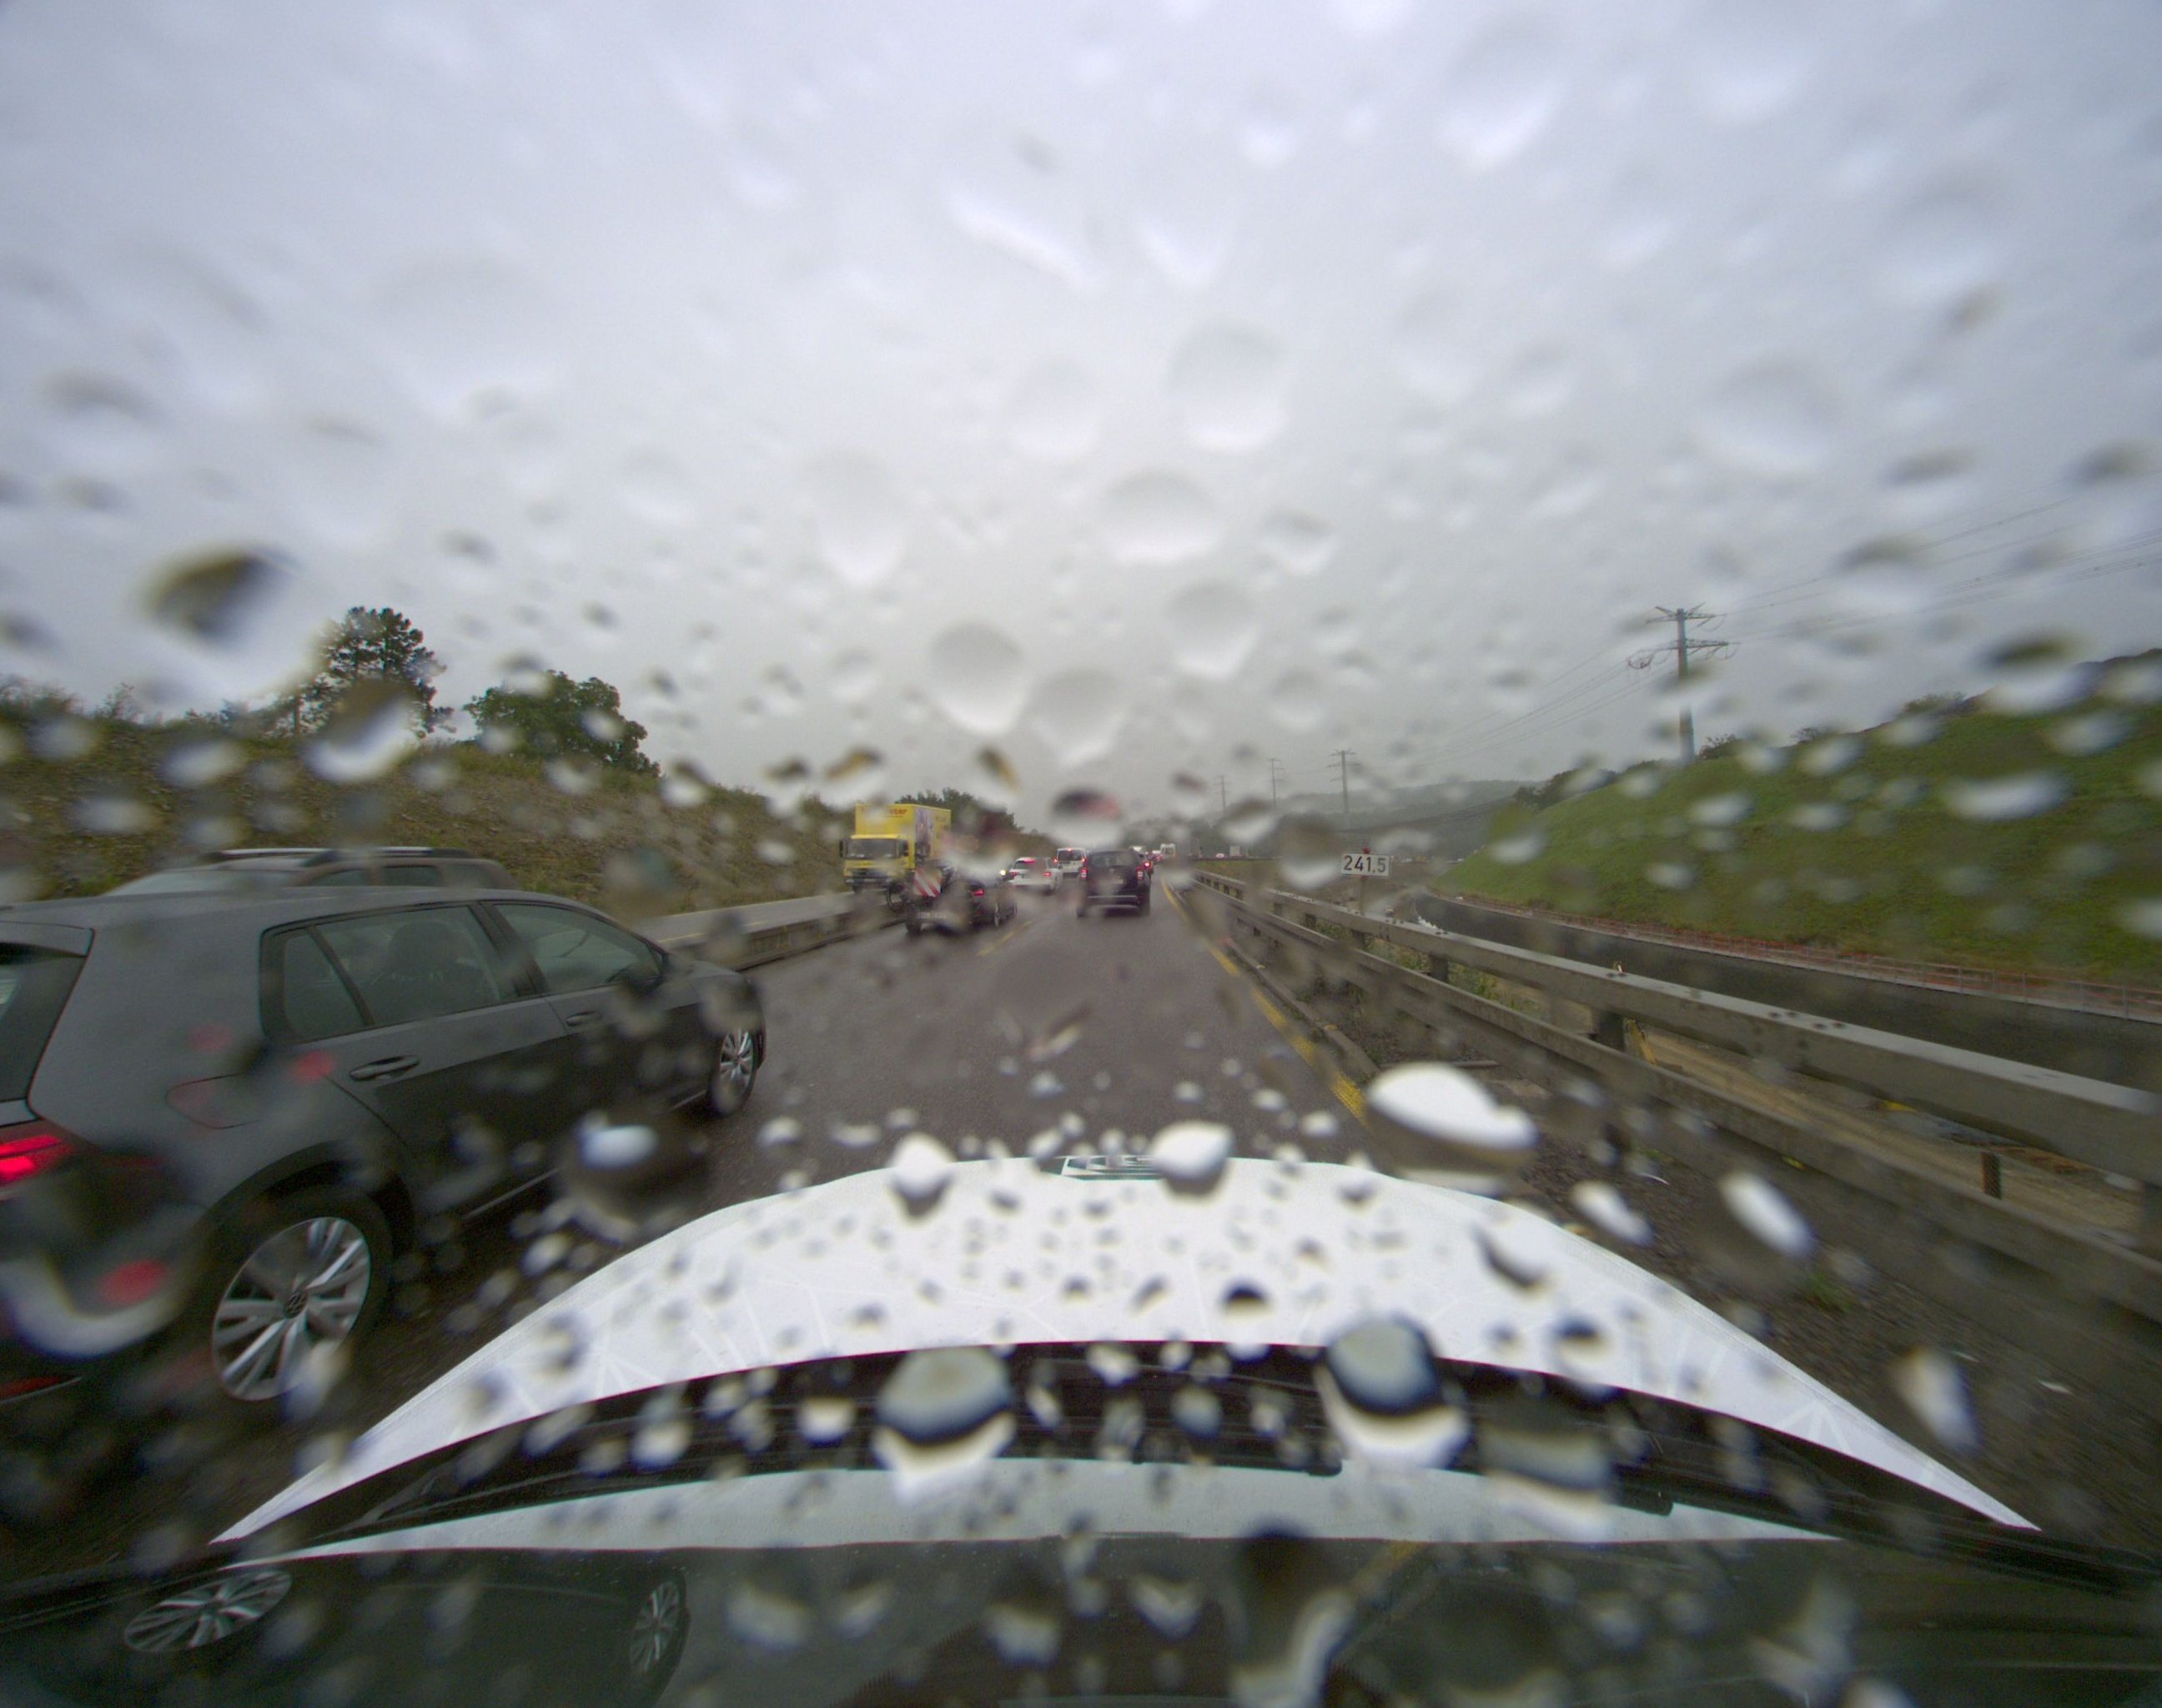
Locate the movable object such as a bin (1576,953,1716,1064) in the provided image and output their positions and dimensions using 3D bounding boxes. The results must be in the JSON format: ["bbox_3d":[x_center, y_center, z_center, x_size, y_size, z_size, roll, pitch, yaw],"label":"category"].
[{"bbox_3d":[24.294,6.556,35.279,3.202,3.867,4.124,1,1,2],"label":"movable object such as a bin"}]

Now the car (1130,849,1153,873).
[{"bbox_3d":[4.300,0.494,57.925,1.524,1.640,4.015,0,0,3],"label":"car"}]

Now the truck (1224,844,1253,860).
[{"bbox_3d":[42.071,-0.450,216.949,4.677,4.150,15.765,0,0,22],"label":"truck"}]

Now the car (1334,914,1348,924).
[{"bbox_3d":[52.306,13.108,164.114,1.983,1.816,4.008,-1,0,7],"label":"car"}]

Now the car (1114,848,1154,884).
[{"bbox_3d":[2.628,0.567,40.455,1.859,1.708,4.004,0,0,4],"label":"car"}]

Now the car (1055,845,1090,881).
[{"bbox_3d":[-0.427,0.469,44.809,1.653,1.880,4.024,0,0,4],"label":"car"}]

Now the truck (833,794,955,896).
[{"bbox_3d":[-8.081,-0.362,36.469,2.755,3.996,8.435,-1,0,5],"label":"truck"}]

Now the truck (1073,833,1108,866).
[{"bbox_3d":[1.407,-0.619,107.990,2.917,4.097,14.420,0,0,7],"label":"truck"}]

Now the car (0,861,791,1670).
[{"bbox_3d":[-2.866,0.845,3.374,1.608,1.506,4.369,-2,0,1],"label":"car"}]

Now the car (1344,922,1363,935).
[{"bbox_3d":[49.108,13.380,146.749,2.354,2.013,4.005,0,0,4],"label":"car"}]

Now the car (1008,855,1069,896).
[{"bbox_3d":[-1.556,0.764,31.500,1.859,1.460,4.553,0,0,4],"label":"car"}]

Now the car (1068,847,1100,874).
[{"bbox_3d":[0.246,0.420,54.870,1.859,1.708,4.097,0,0,5],"label":"car"}]

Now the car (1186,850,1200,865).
[{"bbox_3d":[14.534,0.442,106.015,1.765,1.916,4.009,0,0,8],"label":"car"}]

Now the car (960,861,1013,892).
[{"bbox_3d":[-4.504,1.048,39.508,1.860,1.406,4.119,0,0,3],"label":"car"}]

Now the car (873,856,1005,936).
[{"bbox_3d":[-2.859,0.791,17.221,1.820,1.476,3.781,-1,0,5],"label":"car"}]

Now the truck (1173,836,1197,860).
[{"bbox_3d":[16.975,-0.954,132.318,3.179,3.761,8.537,0,0,12],"label":"truck"}]

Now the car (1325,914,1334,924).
[{"bbox_3d":[58.482,15.210,191.389,1.978,2.013,4.018,0,0,17],"label":"car"}]

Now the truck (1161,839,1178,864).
[{"bbox_3d":[11.707,-0.344,107.701,2.138,3.166,6.470,0,0,6],"label":"truck"}]

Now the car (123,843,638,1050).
[{"bbox_3d":[-6.501,0.711,8.301,1.754,1.597,4.000,0,0,0],"label":"car"}]

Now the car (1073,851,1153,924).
[{"bbox_3d":[0.890,0.774,20.590,1.796,1.646,3.781,-1,0,5],"label":"car"}]
